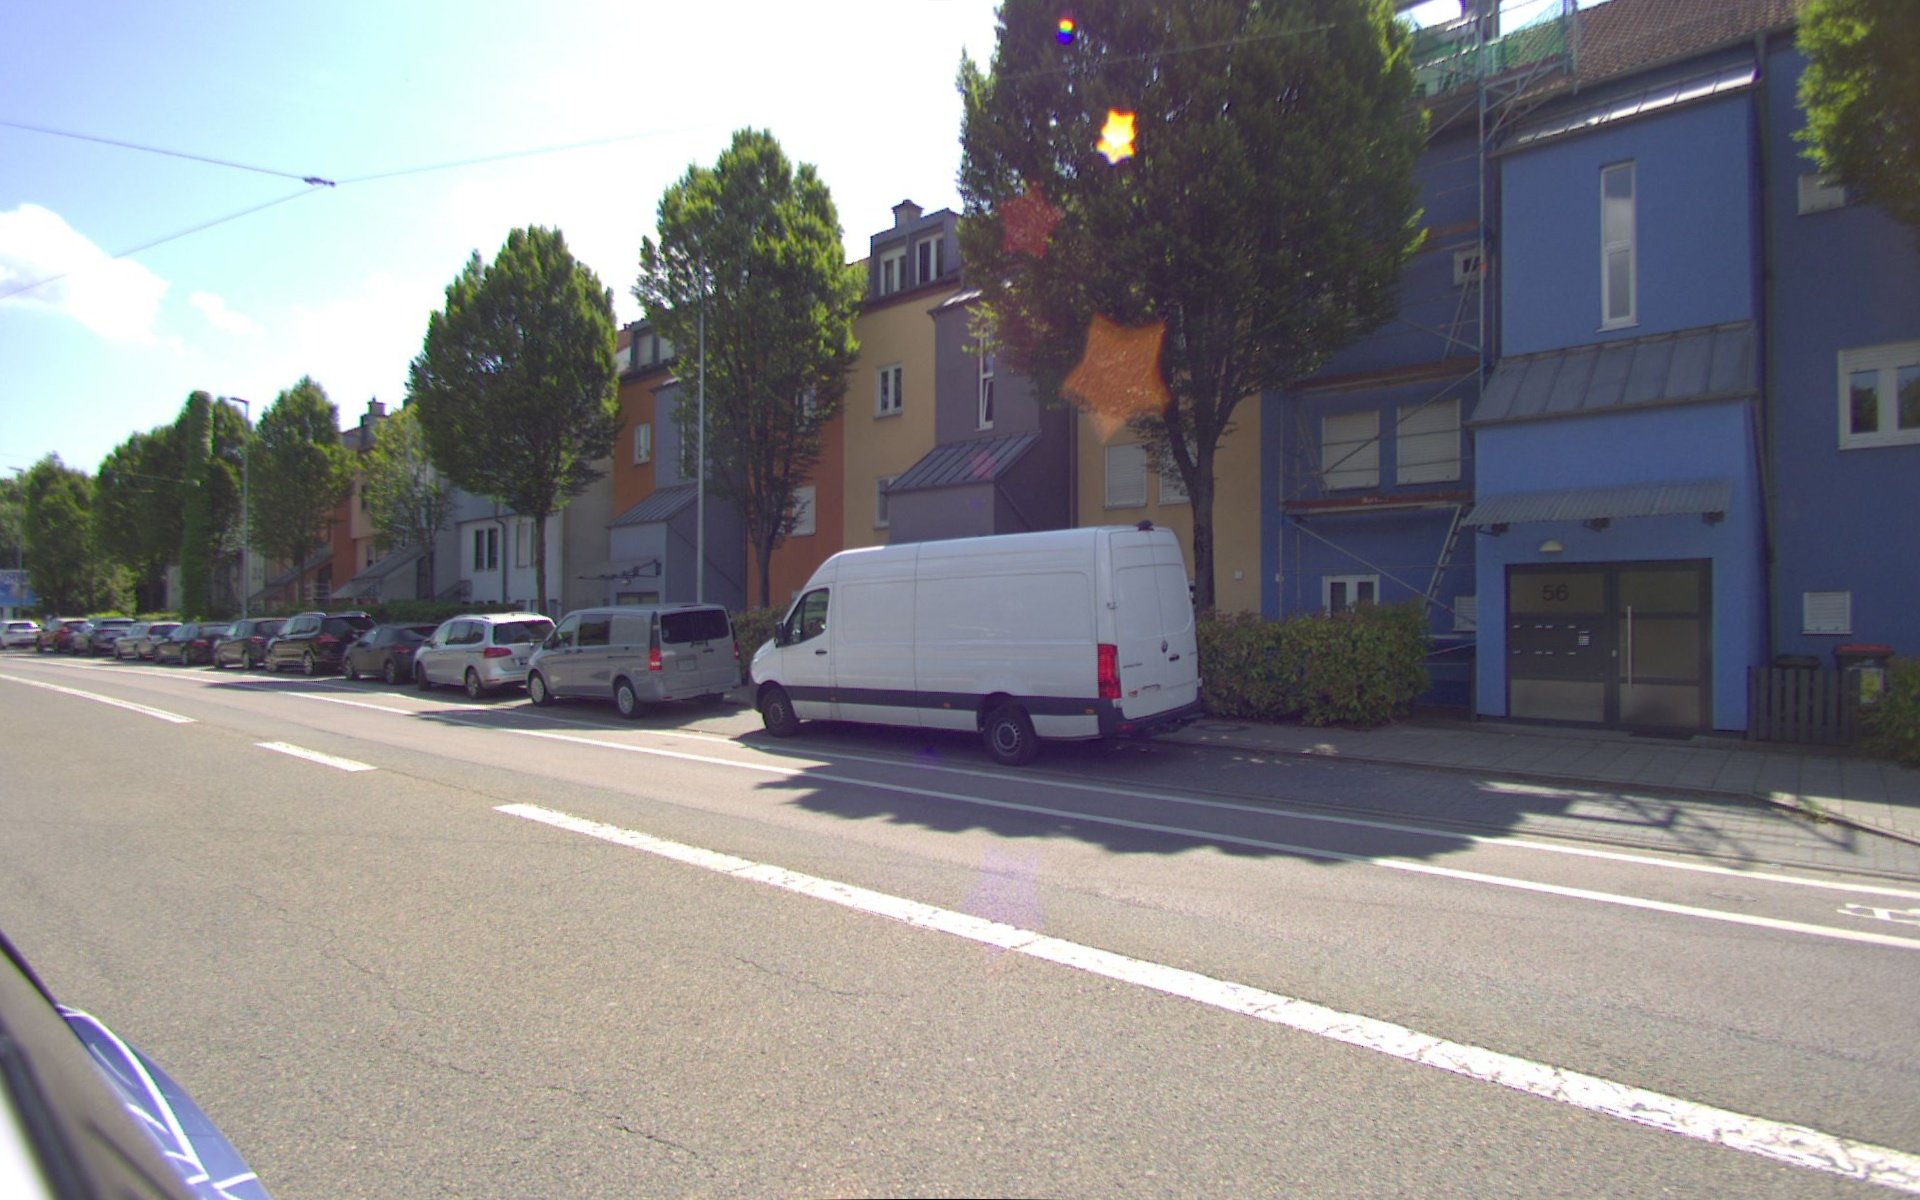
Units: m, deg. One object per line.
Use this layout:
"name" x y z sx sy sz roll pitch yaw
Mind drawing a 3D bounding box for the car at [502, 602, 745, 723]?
"car" -6.389 1.060 18.815 5.360 1.909 1.788 -1 1 41

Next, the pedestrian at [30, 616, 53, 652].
"pedestrian" -49.827 1.860 54.900 0.633 1.937 0.710 0 -2 -14

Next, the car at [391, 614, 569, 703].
"car" -10.692 1.213 22.385 4.900 1.765 1.699 -1 -2 41

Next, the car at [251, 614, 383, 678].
"car" -18.687 1.307 29.334 4.881 1.729 1.734 -2 -2 39

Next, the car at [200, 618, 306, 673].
"car" -22.890 1.429 32.720 4.280 1.630 1.639 -1 -2 38

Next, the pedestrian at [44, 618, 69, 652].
"pedestrian" -48.930 1.884 54.812 0.695 1.808 0.683 0 -2 6

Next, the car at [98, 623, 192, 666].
"car" -32.482 1.722 40.294 4.885 1.519 1.641 0 2 36

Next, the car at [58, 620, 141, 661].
"car" -36.825 1.716 43.297 4.678 1.621 1.641 -1 0 36

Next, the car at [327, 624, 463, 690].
"car" -14.497 1.387 25.888 4.082 1.482 1.583 0 -1 39

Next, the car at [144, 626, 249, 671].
"car" -27.504 1.689 36.395 4.955 1.457 1.725 -1 0 37

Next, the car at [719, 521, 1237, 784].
"car" -0.142 0.536 13.470 7.033 2.671 2.299 -2 2 42

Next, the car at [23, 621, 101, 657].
"car" -41.498 1.773 46.761 4.161 1.621 1.642 -1 -1 33

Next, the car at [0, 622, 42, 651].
"car" -48.607 1.858 51.549 4.384 1.421 1.642 -1 -2 33
